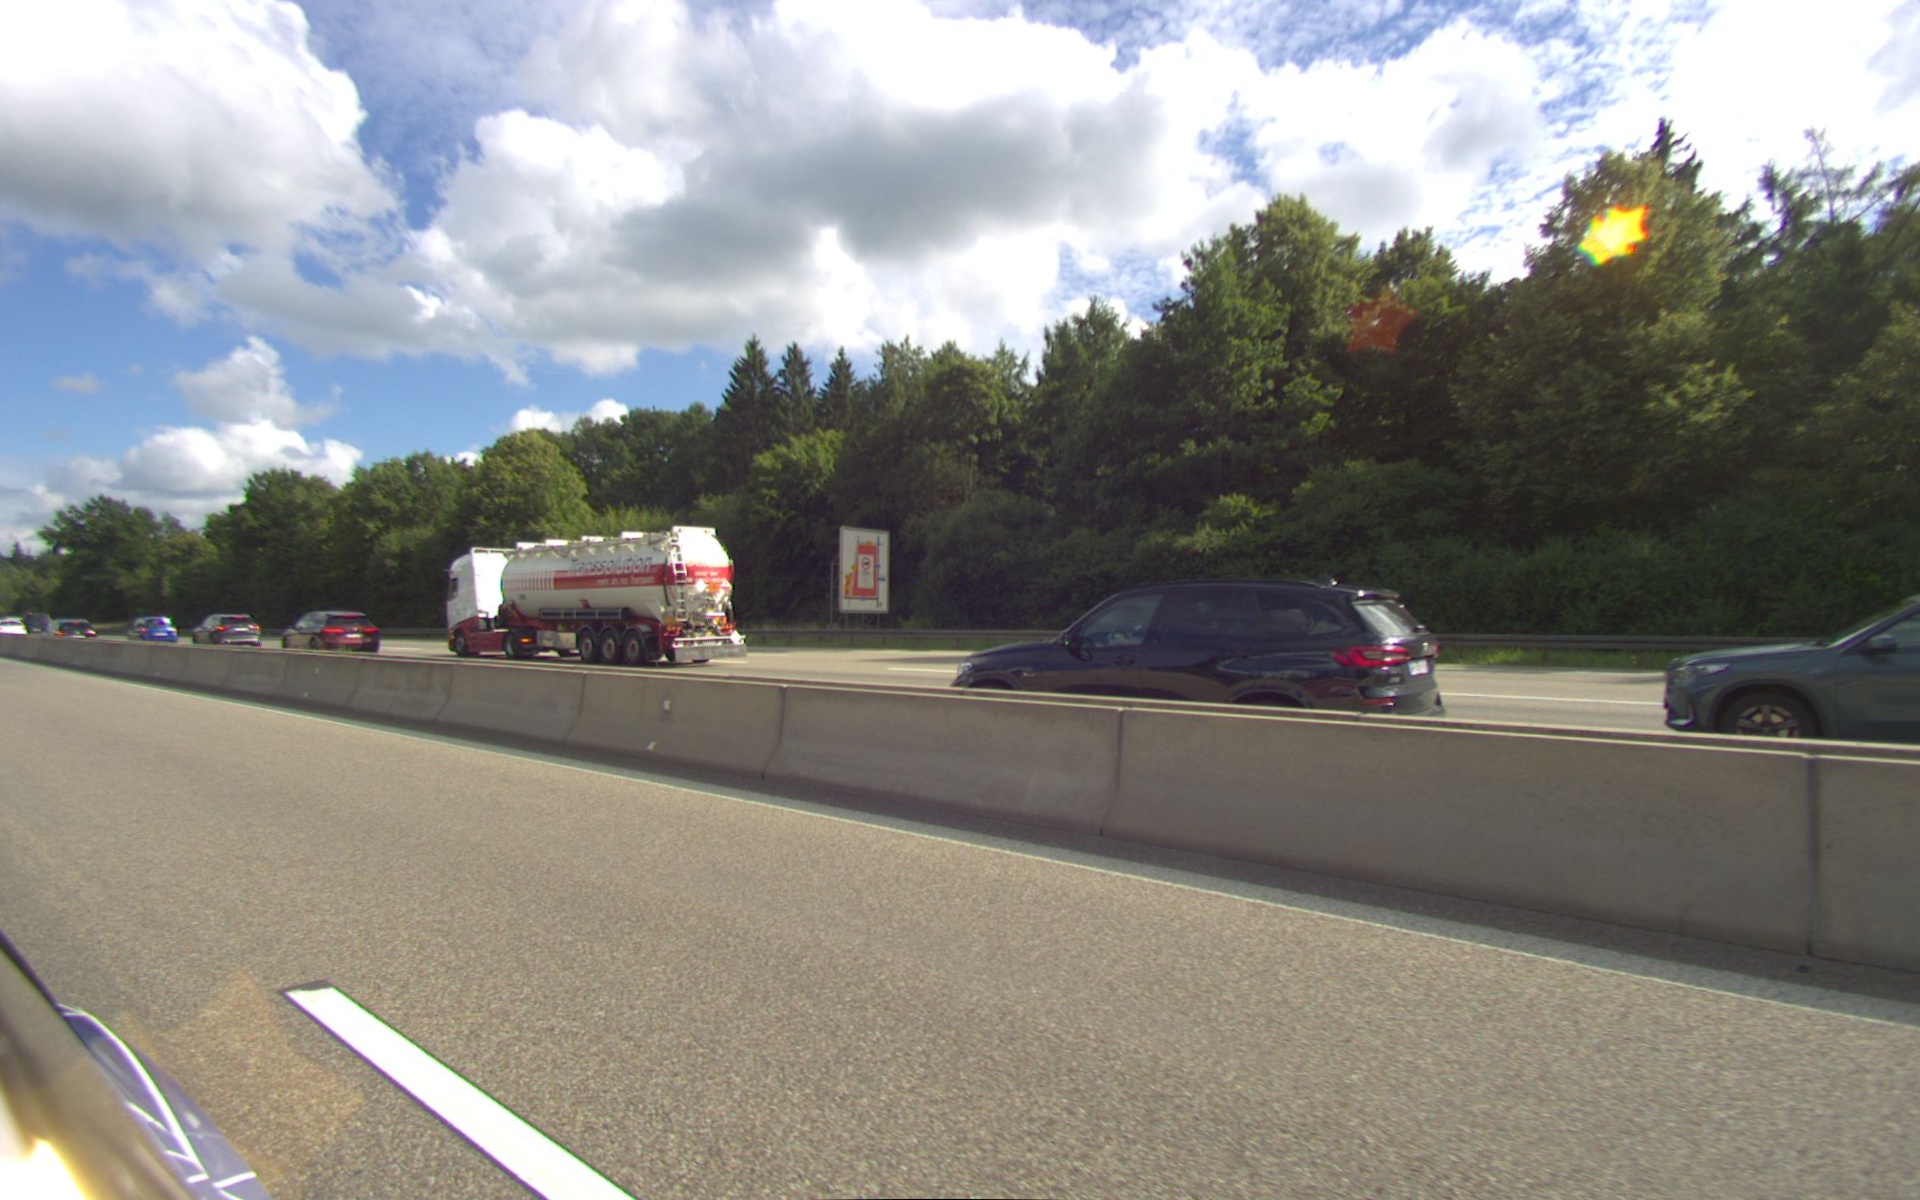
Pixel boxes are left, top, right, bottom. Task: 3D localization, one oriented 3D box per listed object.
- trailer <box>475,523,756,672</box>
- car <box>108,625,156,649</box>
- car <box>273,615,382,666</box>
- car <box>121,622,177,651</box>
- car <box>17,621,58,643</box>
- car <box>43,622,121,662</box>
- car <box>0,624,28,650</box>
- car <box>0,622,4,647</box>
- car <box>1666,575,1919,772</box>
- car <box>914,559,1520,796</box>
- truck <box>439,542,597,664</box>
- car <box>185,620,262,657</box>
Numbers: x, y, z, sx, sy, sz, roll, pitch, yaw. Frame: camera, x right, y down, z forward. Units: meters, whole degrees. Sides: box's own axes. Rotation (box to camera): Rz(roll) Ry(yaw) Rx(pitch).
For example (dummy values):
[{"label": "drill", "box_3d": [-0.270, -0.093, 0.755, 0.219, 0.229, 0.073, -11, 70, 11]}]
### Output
[{"label": "trailer", "box_3d": [-11.394, 0.045, 32.245, 12.247, 3.975, 2.758, -1, -1, 41]}, {"label": "car", "box_3d": [-56.299, 2.481, 68.779, 4.282, 1.572, 1.836, -1, -1, 41]}, {"label": "car", "box_3d": [-22.612, 1.406, 36.087, 5.207, 1.683, 1.836, -1, -1, 41]}, {"label": "car", "box_3d": [-44.781, 1.975, 55.847, 3.995, 1.523, 1.613, -1, -1, 39]}, {"label": "car", "box_3d": [-78.452, 2.708, 86.027, 5.122, 1.819, 1.973, -1, -1, 40]}, {"label": "car", "box_3d": [-43.435, 2.056, 50.031, 4.977, 1.892, 2.149, -1, -3, 40]}, {"label": "car", "box_3d": [-64.327, 2.480, 68.055, 4.239, 1.653, 1.893, -1, -3, 40]}, {"label": "car", "box_3d": [-72.369, 2.527, 74.667, 4.872, 1.815, 2.149, -1, -1, 40]}, {"label": "car", "box_3d": [9.258, 0.622, 9.040, 4.683, 1.676, 1.974, -1, -1, 40]}, {"label": "car", "box_3d": [2.230, 0.613, 9.869, 5.346, 1.713, 2.133, -1, -1, 40]}, {"label": "truck", "box_3d": [-15.931, 0.159, 36.265, 6.442, 3.975, 2.759, -1, -1, 41]}, {"label": "car", "box_3d": [-34.359, 1.754, 47.186, 4.745, 1.632, 1.841, -1, -1, 40]}]
